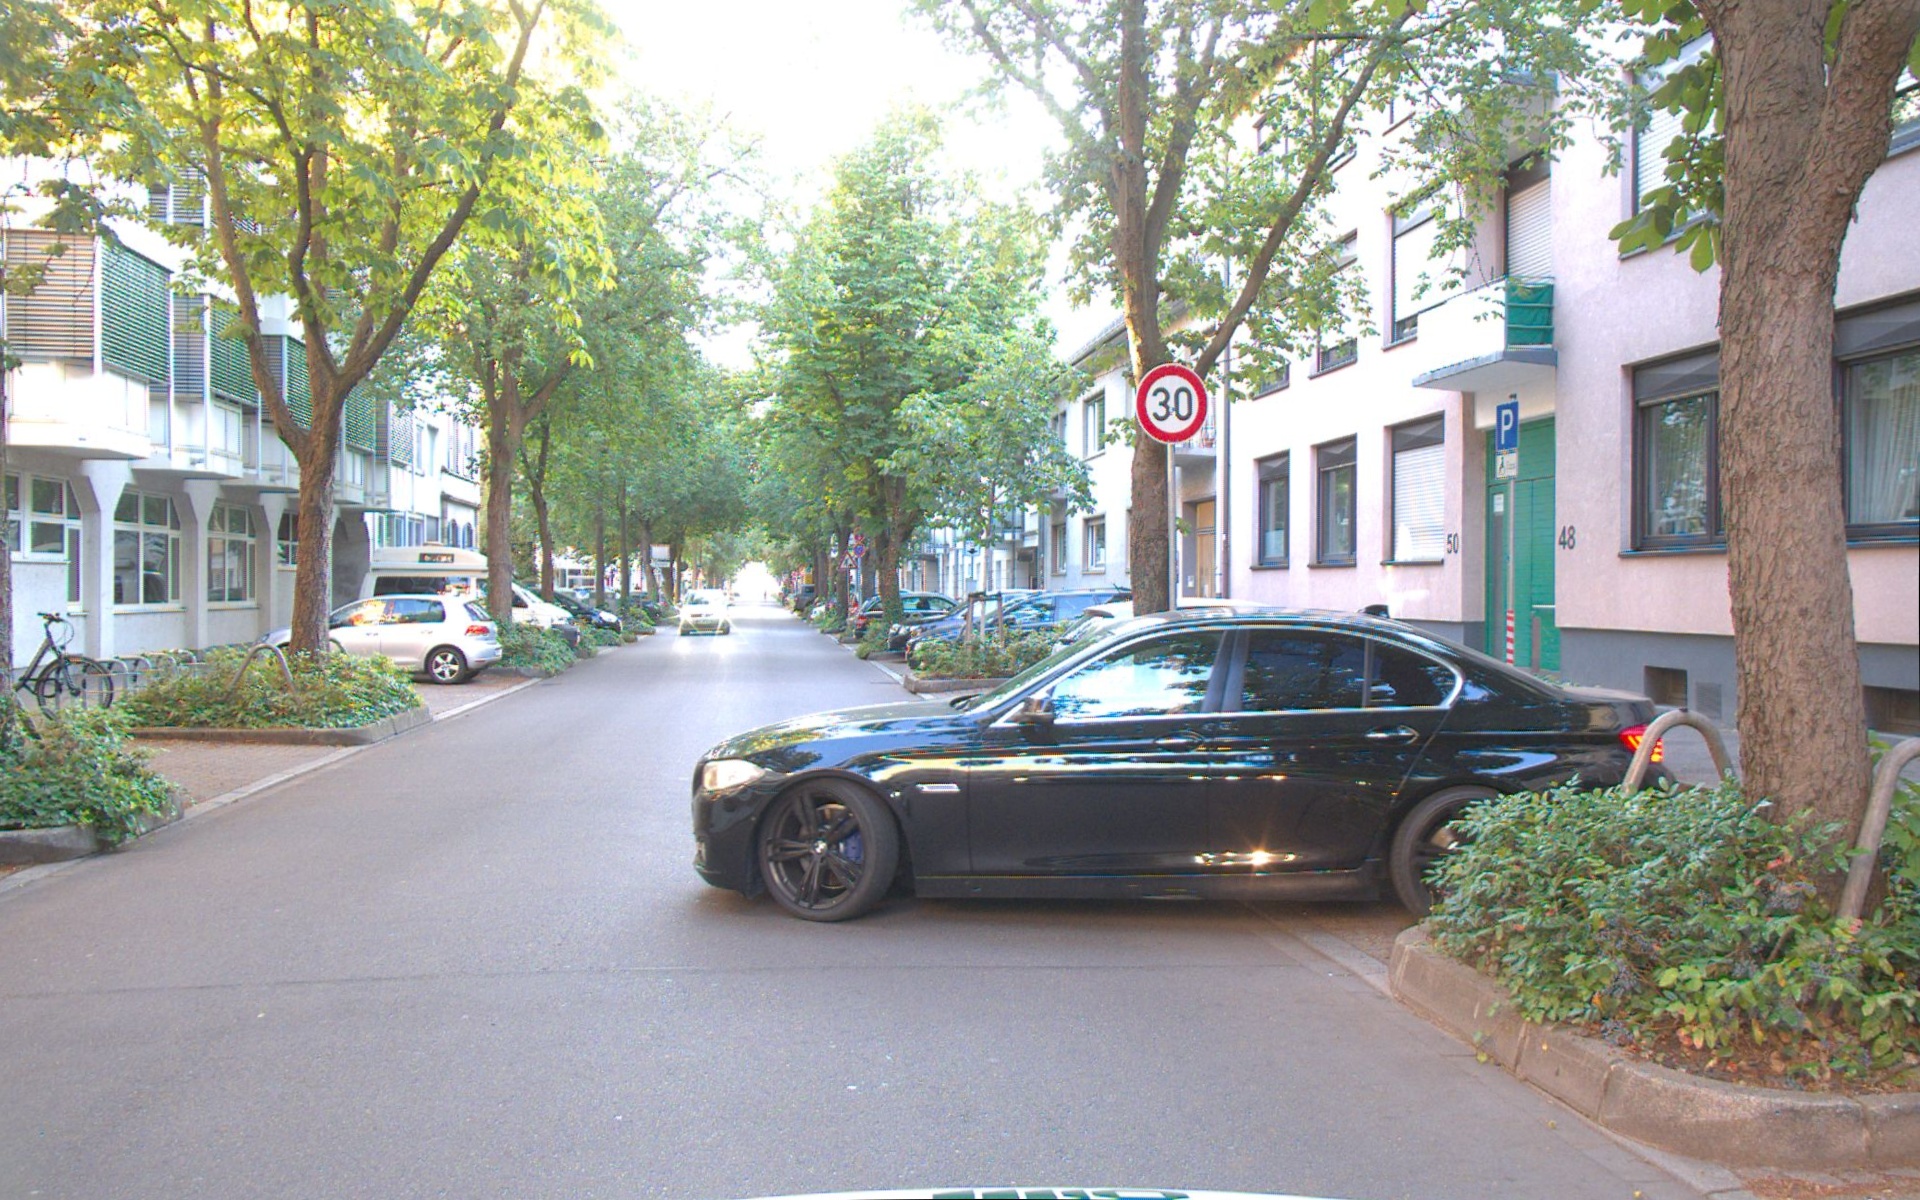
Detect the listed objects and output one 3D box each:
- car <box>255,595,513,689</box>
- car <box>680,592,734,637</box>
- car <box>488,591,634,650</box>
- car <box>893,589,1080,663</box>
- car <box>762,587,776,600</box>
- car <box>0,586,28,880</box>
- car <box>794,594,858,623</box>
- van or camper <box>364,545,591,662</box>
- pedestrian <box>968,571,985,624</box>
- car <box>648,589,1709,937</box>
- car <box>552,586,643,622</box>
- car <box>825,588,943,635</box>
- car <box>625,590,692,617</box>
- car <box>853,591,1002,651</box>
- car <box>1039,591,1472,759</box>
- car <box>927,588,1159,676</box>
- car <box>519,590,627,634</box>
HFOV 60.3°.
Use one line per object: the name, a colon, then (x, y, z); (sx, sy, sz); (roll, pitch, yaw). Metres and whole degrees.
car: (-9.859, 0.692, 28.572); (3.892, 1.544, 1.783); (0, 0, -6)
car: (-9.225, 0.494, 60.474); (1.745, 1.589, 4.162); (0, 0, -6)
car: (-11.487, 0.579, 47.852); (3.892, 1.647, 1.783); (0, 0, -6)
car: (0.547, 0.539, 36.142); (3.893, 1.554, 1.782); (0, 0, -8)
car: (-24.347, -0.826, 210.717); (1.787, 1.557, 3.995); (-1, 0, -6)
car: (-7.102, 0.712, 7.860); (4.272, 1.544, 1.782); (0, 0, -7)
car: (-8.159, 0.494, 100.637); (3.891, 1.713, 1.783); (0, 0, -6)
van or camper: (-10.669, 0.068, 36.874); (4.575, 2.521, 1.997); (0, 0, -7)
pedestrian: (0.647, -0.110, 64.910); (0.577, 2.049, 0.669); (0, 0, -6)
car: (0.977, 0.701, 8.184); (4.645, 1.506, 1.801); (0, 0, 3)
car: (-16.597, 0.173, 75.862); (3.891, 1.647, 1.783); (0, 0, -6)
car: (-2.623, 0.381, 56.770); (3.894, 1.554, 1.782); (0, 0, -9)
car: (-18.568, 0.201, 101.937); (3.891, 1.647, 1.783); (0, 0, -6)
car: (-0.904, 0.550, 44.930); (3.893, 1.554, 1.782); (0, 0, -8)
car: (2.807, 0.673, 16.099); (3.836, 1.502, 1.661); (0, 0, -9)
car: (1.456, 0.548, 29.681); (3.894, 1.502, 1.781); (0, 0, -9)
car: (-15.007, 0.459, 64.266); (3.891, 1.647, 1.783); (0, 0, -6)
